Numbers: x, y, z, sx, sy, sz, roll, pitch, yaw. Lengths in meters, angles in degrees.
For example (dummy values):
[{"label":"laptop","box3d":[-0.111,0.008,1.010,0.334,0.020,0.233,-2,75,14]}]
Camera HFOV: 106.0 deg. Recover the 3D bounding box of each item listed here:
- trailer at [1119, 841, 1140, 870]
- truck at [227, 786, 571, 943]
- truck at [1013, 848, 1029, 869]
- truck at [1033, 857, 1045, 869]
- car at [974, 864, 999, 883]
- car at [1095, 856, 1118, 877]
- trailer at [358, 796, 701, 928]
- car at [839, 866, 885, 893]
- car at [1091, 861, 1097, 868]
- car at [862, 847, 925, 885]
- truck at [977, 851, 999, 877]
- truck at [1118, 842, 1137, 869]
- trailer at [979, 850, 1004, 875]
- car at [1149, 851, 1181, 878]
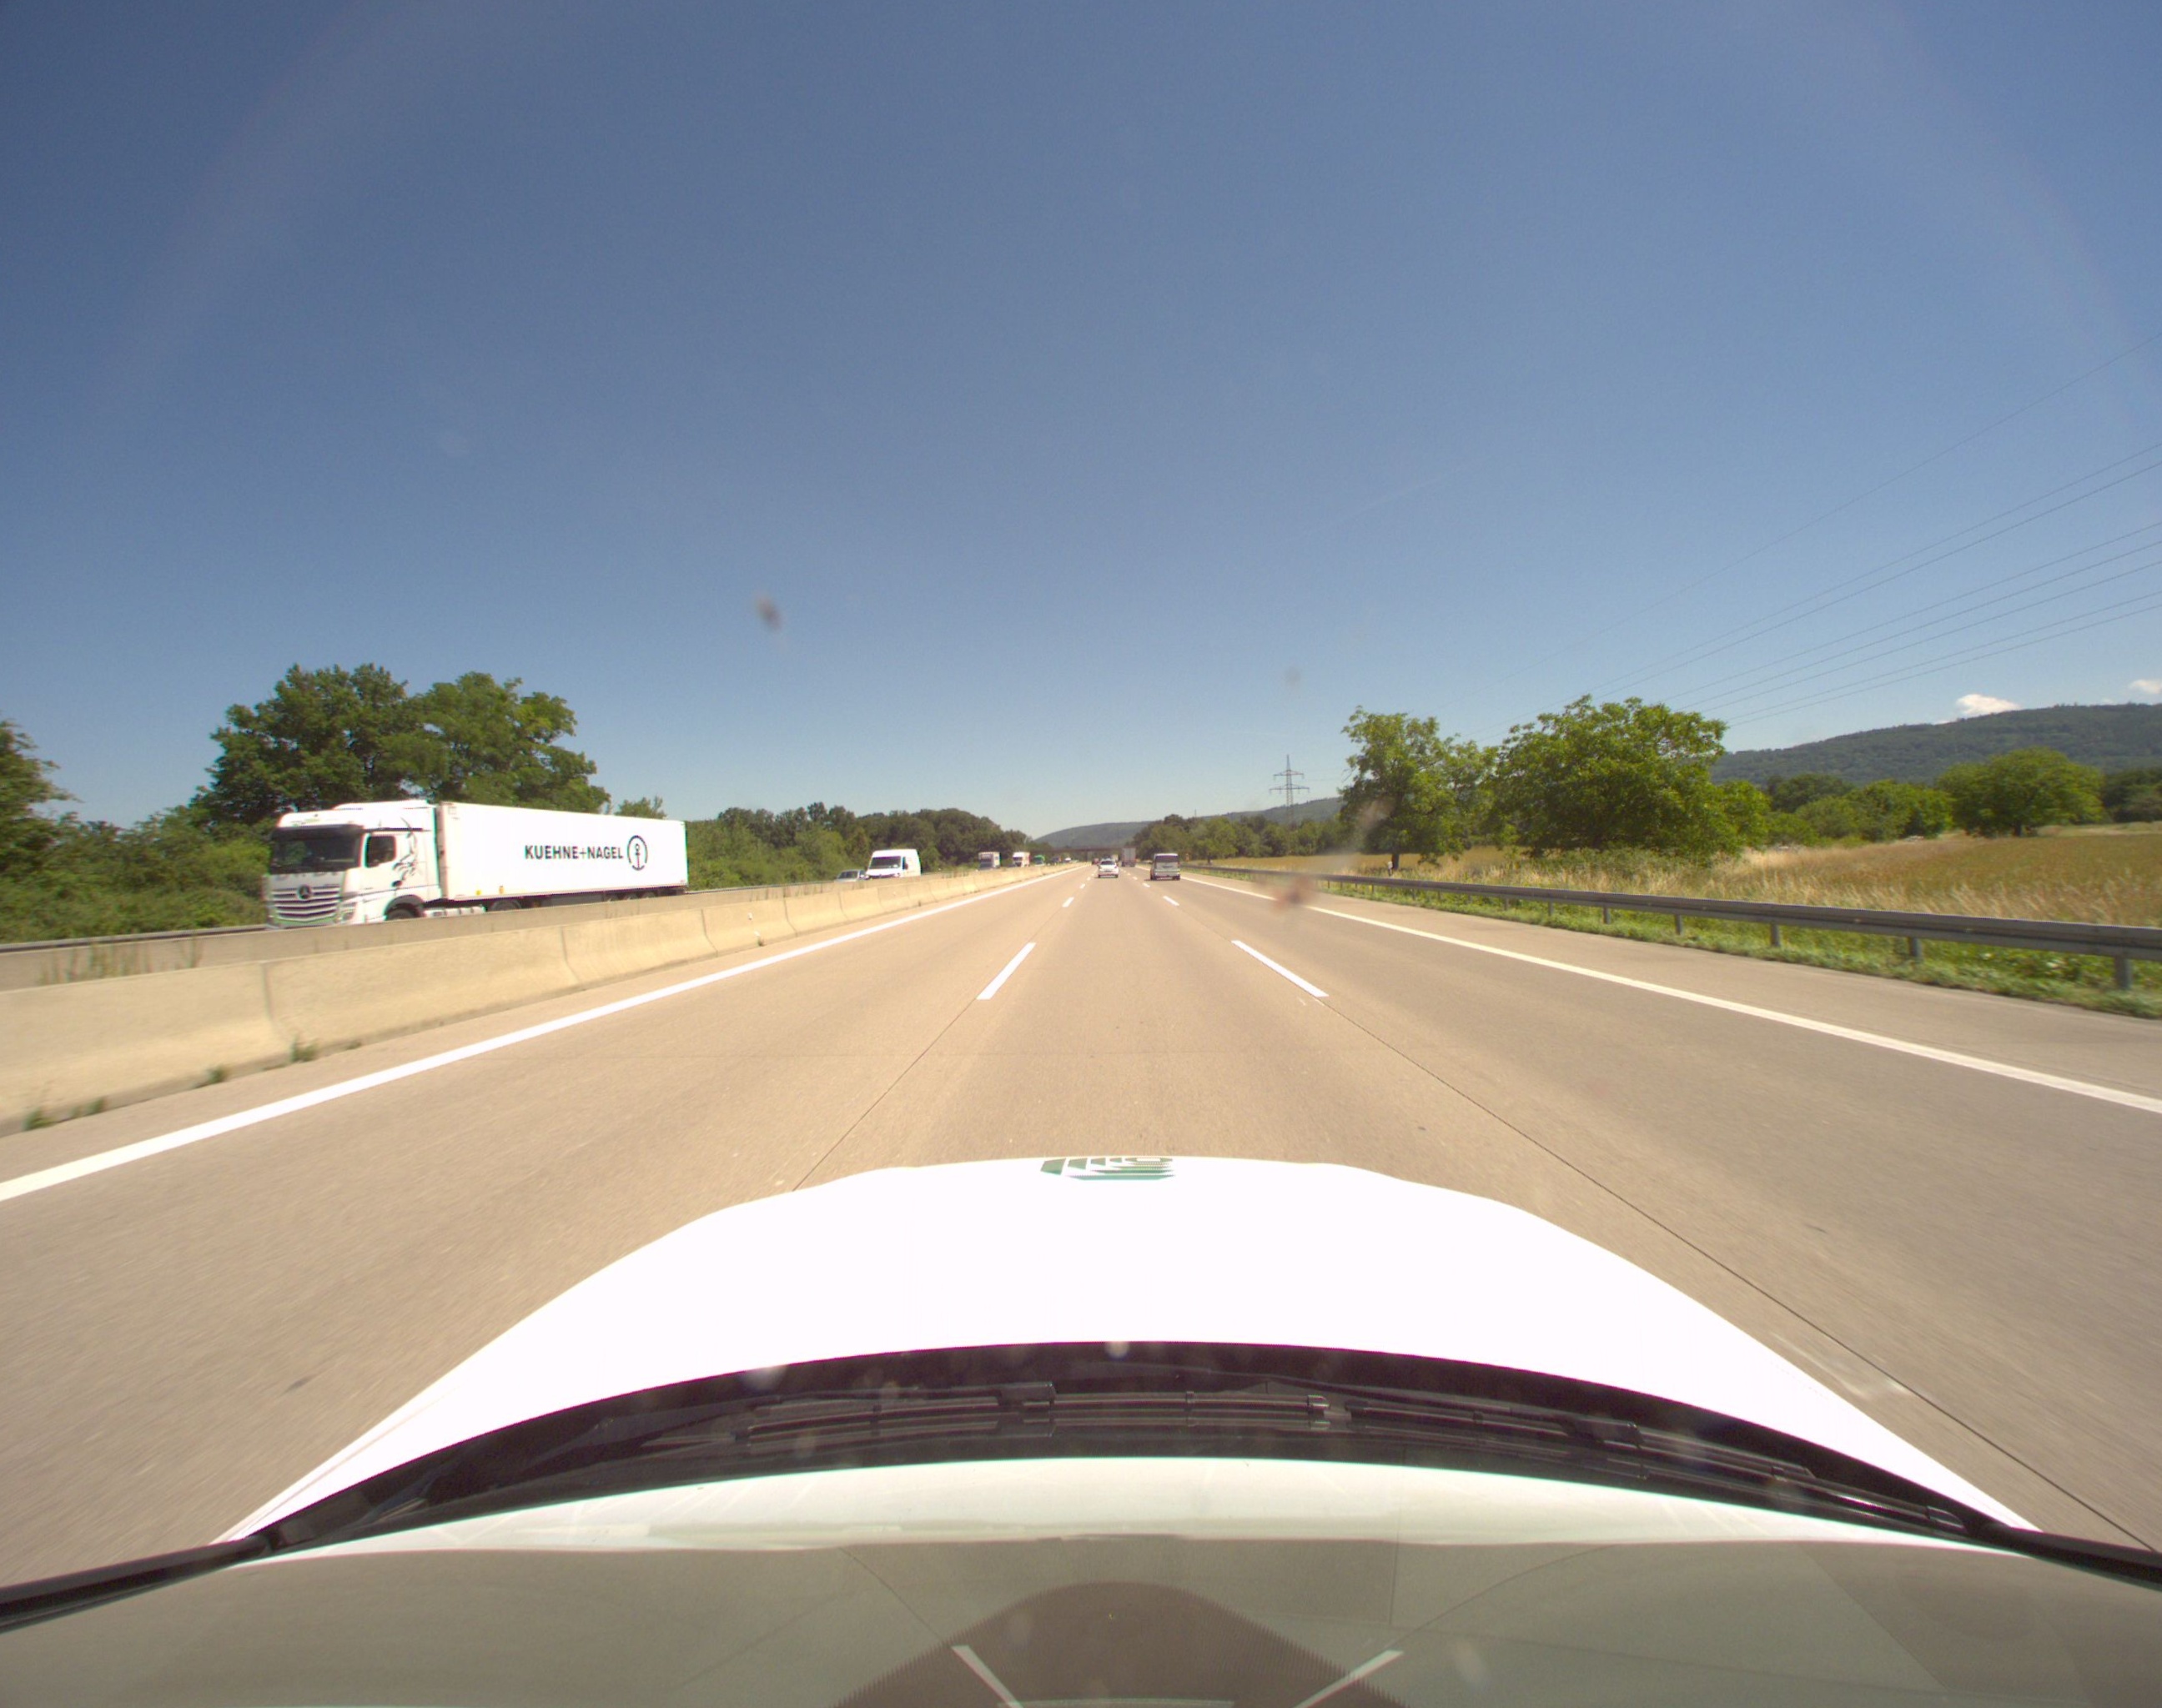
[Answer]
[{"label":"trailer","box3d":[9.993,0.324,170.468,3.708,5.811,12.161,-1,0,0]},{"label":"truck","box3d":[-19.692,0.274,24.553,3.149,3.908,8.375,-1,0,1]},{"label":"truck","box3d":[-13.771,0.937,187.650,3.070,4.762,6.501,-1,0,2]},{"label":"truck","box3d":[-12.935,2.764,251.761,3.038,3.634,7.979,-1,0,1]},{"label":"car","box3d":[-9.860,2.016,85.090,1.922,1.794,4.398,-1,0,1]},{"label":"car","box3d":[2.143,1.017,68.997,1.813,1.662,4.001,-1,0,1]},{"label":"trailer","box3d":[-19.502,0.252,30.957,3.149,3.838,14.035,-1,0,1]},{"label":"car","box3d":[-14.779,1.724,55.225,1.812,1.662,4.003,-2,0,3]},{"label":"car","box3d":[3.967,3.150,244.961,1.922,1.794,4.001,-1,0,1]},{"label":"car","box3d":[-10.643,0.659,46.712,2.061,2.013,5.982,-1,0,1]},{"label":"truck","box3d":[-15.387,1.641,135.013,2.942,4.127,5.088,-1,0,2]},{"label":"truck","box3d":[10.043,0.336,176.665,3.709,5.811,7.053,-1,0,0]},{"label":"trailer","box3d":[-15.232,1.351,139.086,2.942,4.105,8.488,-1,0,2]},{"label":"car","box3d":[5.974,0.754,58.336,1.986,1.849,4.001,0,0,1]}]
